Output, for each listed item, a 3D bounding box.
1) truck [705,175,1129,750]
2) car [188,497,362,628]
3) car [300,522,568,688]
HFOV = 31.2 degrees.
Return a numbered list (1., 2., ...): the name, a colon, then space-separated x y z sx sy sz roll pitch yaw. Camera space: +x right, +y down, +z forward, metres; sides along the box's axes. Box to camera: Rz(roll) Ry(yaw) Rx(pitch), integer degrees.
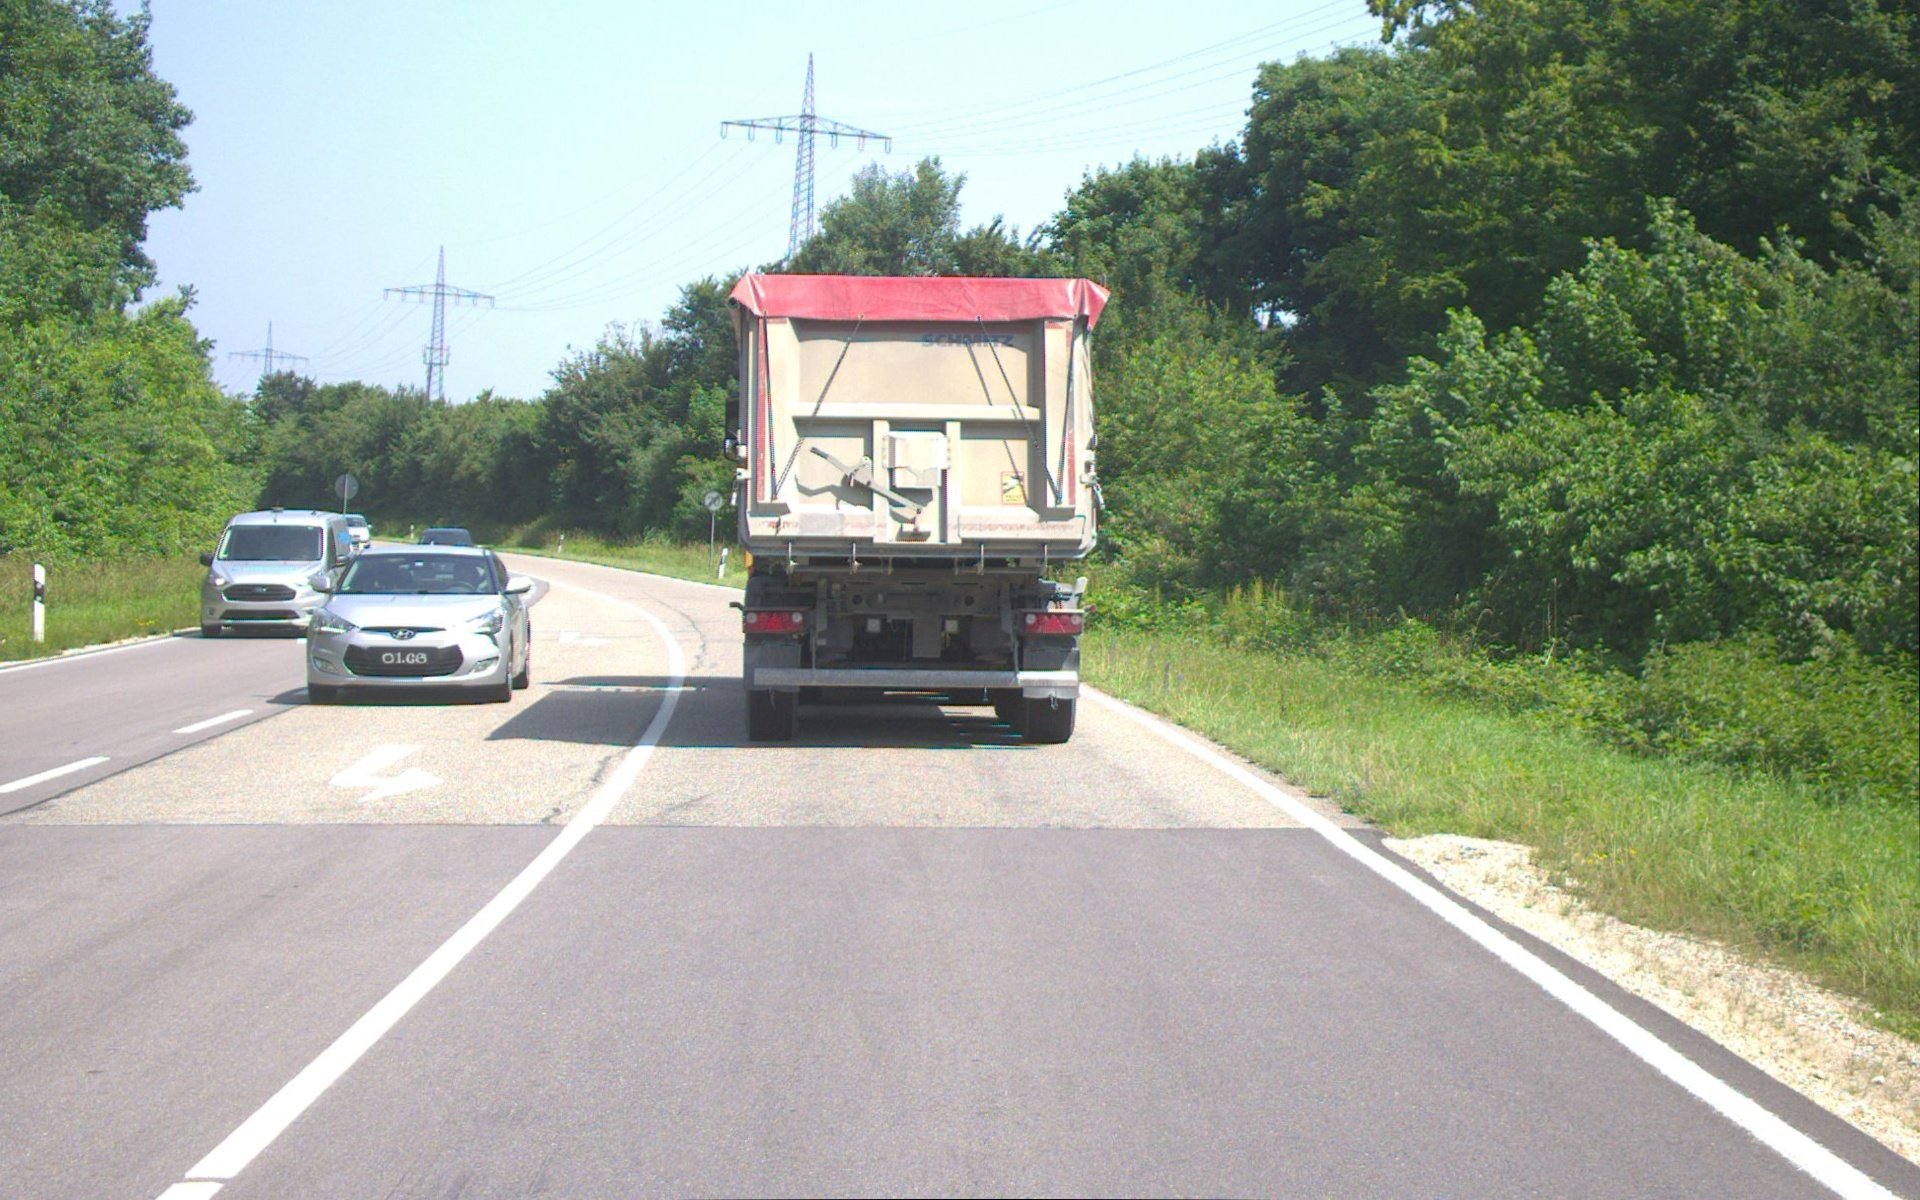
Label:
1. truck: -0.529 -1.105 29.845 2.893 3.949 11.934 1 1 -2
2. car: -9.837 -0.581 49.710 1.842 1.773 4.894 1 2 -4
3. car: -4.795 0.036 31.873 1.708 1.414 4.098 1 0 2
